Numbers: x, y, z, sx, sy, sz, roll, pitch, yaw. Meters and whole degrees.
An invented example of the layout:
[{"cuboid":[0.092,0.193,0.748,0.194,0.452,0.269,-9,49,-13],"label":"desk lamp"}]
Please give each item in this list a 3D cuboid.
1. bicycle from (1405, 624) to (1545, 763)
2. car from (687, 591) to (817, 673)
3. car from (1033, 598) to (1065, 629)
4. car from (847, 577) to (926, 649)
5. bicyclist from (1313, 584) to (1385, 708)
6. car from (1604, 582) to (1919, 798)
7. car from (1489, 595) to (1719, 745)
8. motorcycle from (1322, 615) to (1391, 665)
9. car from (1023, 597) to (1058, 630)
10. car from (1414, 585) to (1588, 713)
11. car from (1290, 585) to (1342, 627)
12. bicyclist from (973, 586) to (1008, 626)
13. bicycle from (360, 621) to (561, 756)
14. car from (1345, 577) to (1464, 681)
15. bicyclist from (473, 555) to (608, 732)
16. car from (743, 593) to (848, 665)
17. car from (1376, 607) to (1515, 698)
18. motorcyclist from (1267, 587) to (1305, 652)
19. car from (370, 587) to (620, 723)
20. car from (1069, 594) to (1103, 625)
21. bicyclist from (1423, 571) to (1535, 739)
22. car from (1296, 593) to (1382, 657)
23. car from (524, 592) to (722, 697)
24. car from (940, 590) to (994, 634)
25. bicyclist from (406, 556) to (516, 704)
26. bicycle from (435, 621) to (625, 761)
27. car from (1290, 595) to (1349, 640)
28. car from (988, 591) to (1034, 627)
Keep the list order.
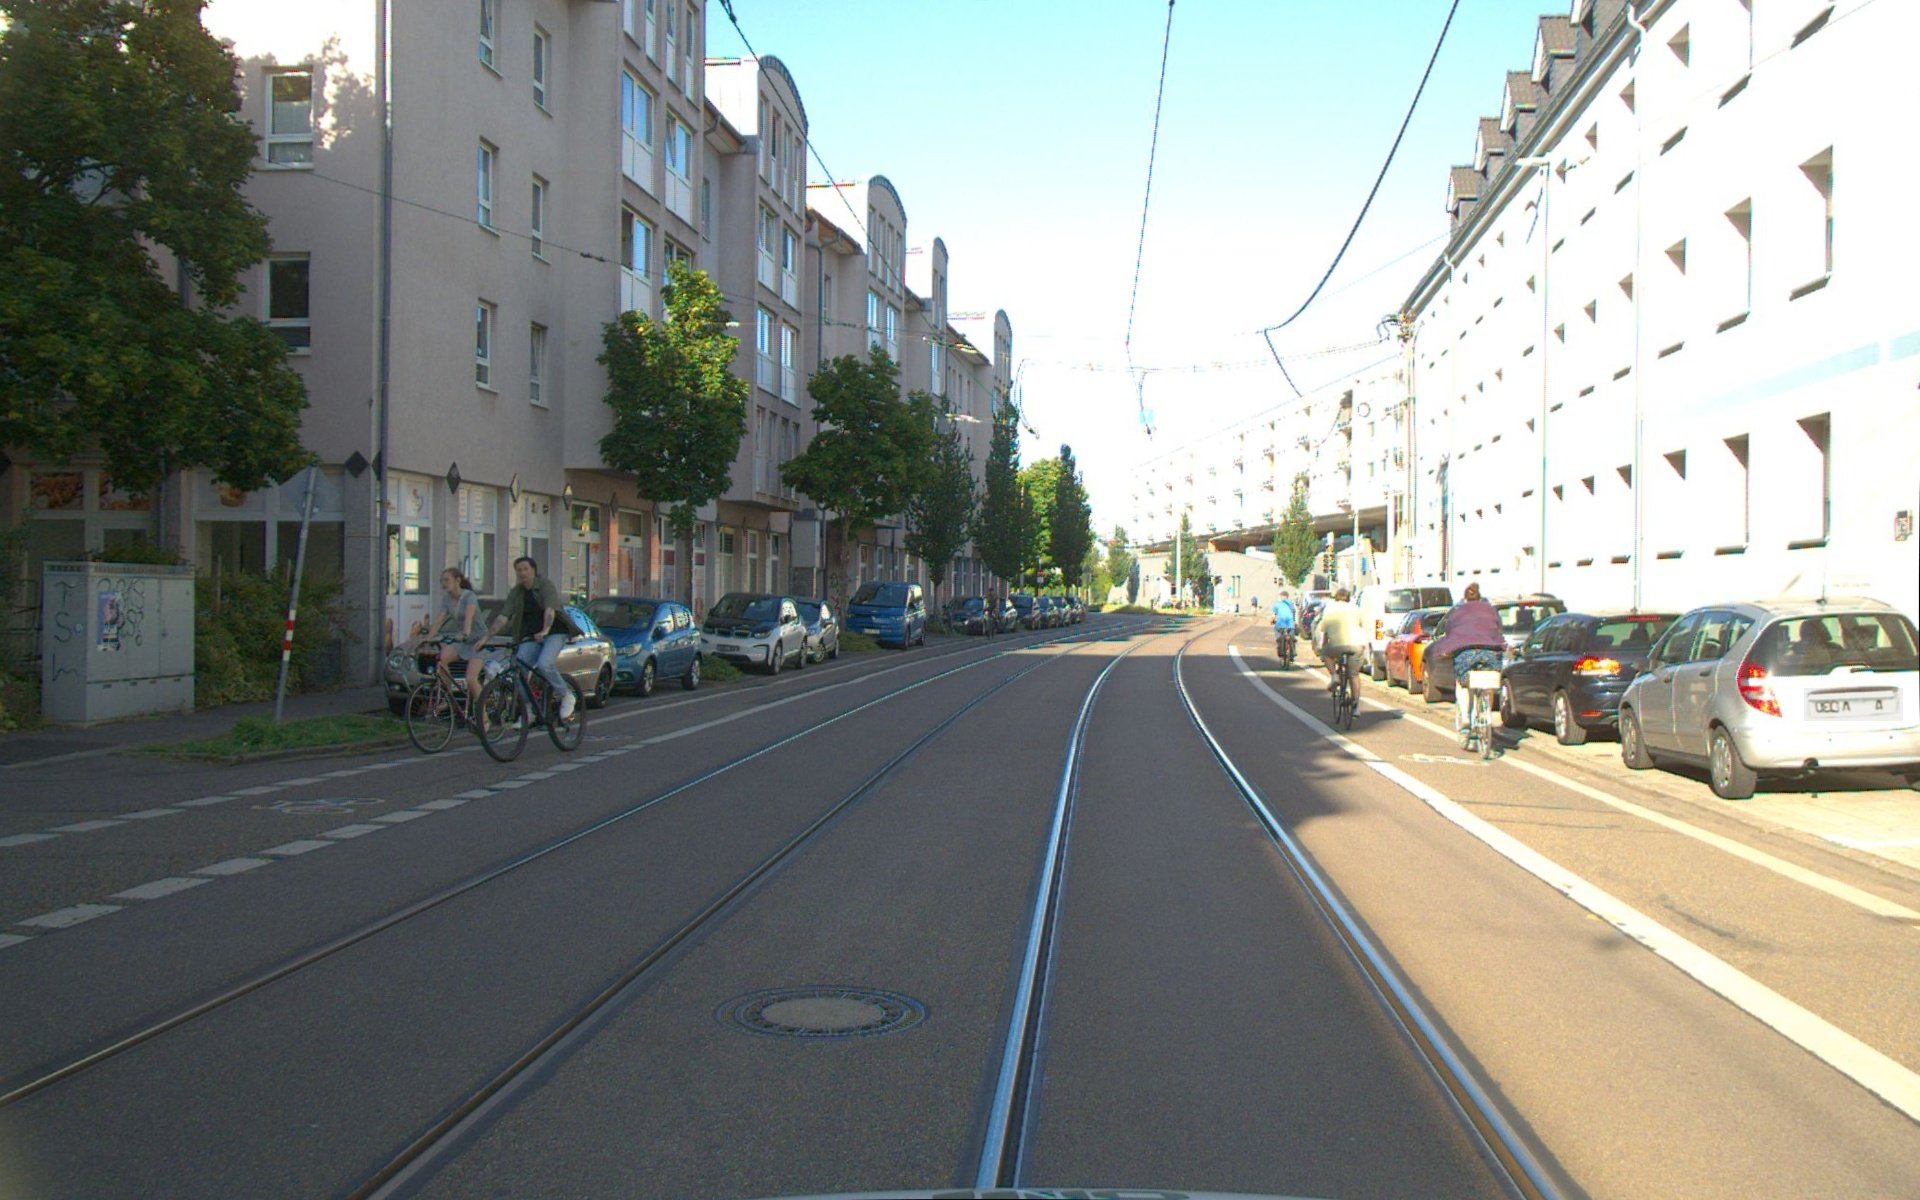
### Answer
[{"cuboid":[5.437,0.946,17.635,0.804,1.258,2.463,4,1,4],"label":"bicycle"},{"cuboid":[-4.343,0.622,35.121,1.791,1.621,4.003,0,0,7],"label":"car"},{"cuboid":[4.702,0.677,87.055,1.558,1.567,3.193,0,0,6],"label":"car"},{"cuboid":[-2.141,0.354,49.080,1.629,2.021,4.346,0,0,7],"label":"car"},{"cuboid":[4.791,0.552,20.414,0.712,1.487,1.021,0,0,4],"label":"bicyclist"},{"cuboid":[7.214,0.686,14.753,1.717,1.598,3.907,-3,0,6],"label":"car"},{"cuboid":[7.549,0.753,19.755,1.558,1.564,4.010,-2,0,7],"label":"car"},{"cuboid":[9.627,0.968,40.203,0.486,1.164,1.750,1,0,-34],"label":"motorcycle"},{"cuboid":[4.062,0.659,82.851,1.558,1.567,3.193,0,0,6],"label":"car"},{"cuboid":[8.045,0.669,24.938,1.625,1.699,3.907,-3,0,6],"label":"car"},{"cuboid":[15.880,0.245,74.013,1.805,1.787,4.552,0,0,6],"label":"car"},{"cuboid":[1.058,0.214,56.811,1.158,1.354,1.095,0,0,3],"label":"bicyclist"},{"cuboid":[-4.959,0.850,16.625,0.821,1.169,2.234,-4,0,15],"label":"bicycle"},{"cuboid":[9.232,0.560,34.644,1.748,2.005,4.157,-1,0,6],"label":"car"},{"cuboid":[-3.936,0.396,15.572,0.863,1.588,0.869,-3,0,14],"label":"bicyclist"},{"cuboid":[-3.892,0.644,39.774,1.791,1.621,4.002,0,0,5],"label":"car"},{"cuboid":[8.690,0.893,29.890,1.757,1.509,3.781,0,0,6],"label":"car"},{"cuboid":[7.356,0.429,37.354,0.712,1.430,1.021,0,0,4],"label":"motorcyclist"},{"cuboid":[-5.769,0.620,21.040,1.707,1.468,4.002,3,1,5],"label":"car"},{"cuboid":[7.093,0.512,92.753,1.805,1.674,3.700,0,0,6],"label":"car"},{"cuboid":[5.417,0.556,17.309,0.914,1.705,0.970,0,0,4],"label":"bicyclist"},{"cuboid":[10.480,0.645,46.003,1.805,1.674,4.552,0,0,6],"label":"car"},{"cuboid":[-5.384,0.668,26.955,1.790,1.515,4.004,-2,0,10],"label":"car"},{"cuboid":[0.319,0.458,64.419,1.629,1.646,4.003,0,0,7],"label":"car"},{"cuboid":[-4.995,0.288,16.592,0.610,1.404,0.869,-4,0,16],"label":"bicyclist"},{"cuboid":[-3.974,0.809,15.510,0.821,1.169,2.235,-1,0,11],"label":"bicycle"},{"cuboid":[13.979,0.642,64.436,1.805,1.674,3.968,0,0,6],"label":"car"},{"cuboid":[2.462,0.414,78.839,1.805,1.674,4.552,0,0,6],"label":"car"}]
